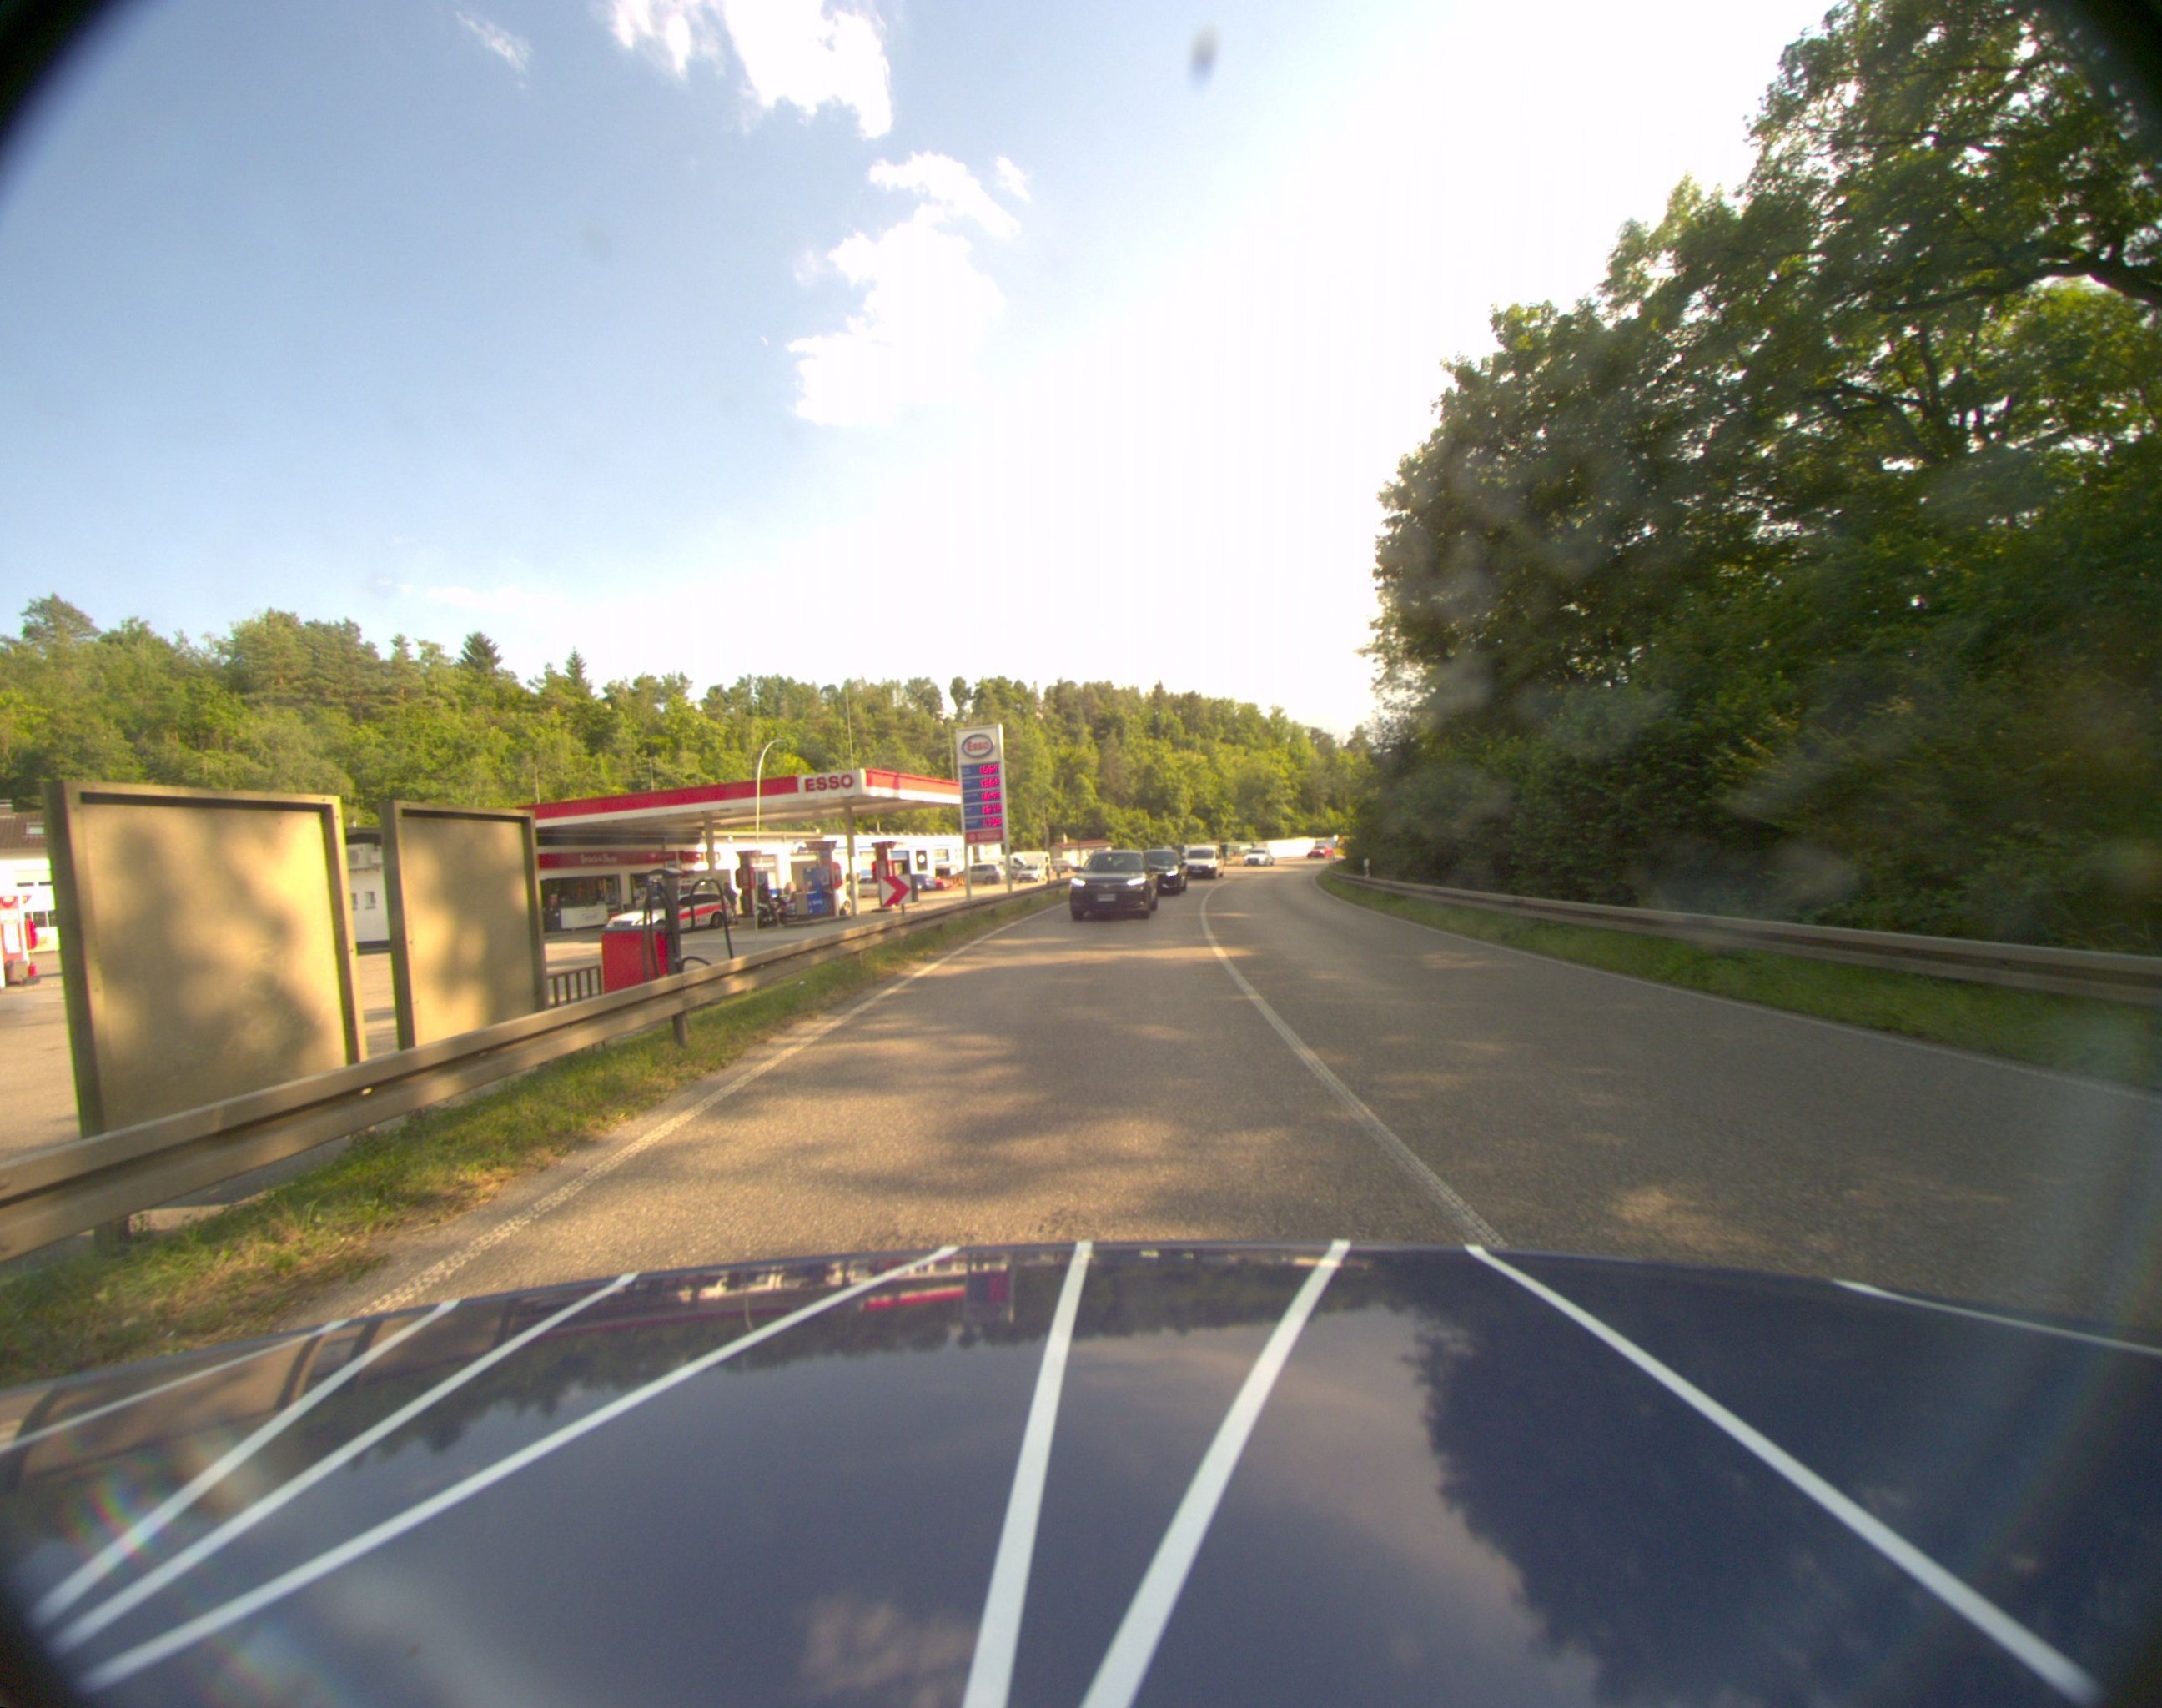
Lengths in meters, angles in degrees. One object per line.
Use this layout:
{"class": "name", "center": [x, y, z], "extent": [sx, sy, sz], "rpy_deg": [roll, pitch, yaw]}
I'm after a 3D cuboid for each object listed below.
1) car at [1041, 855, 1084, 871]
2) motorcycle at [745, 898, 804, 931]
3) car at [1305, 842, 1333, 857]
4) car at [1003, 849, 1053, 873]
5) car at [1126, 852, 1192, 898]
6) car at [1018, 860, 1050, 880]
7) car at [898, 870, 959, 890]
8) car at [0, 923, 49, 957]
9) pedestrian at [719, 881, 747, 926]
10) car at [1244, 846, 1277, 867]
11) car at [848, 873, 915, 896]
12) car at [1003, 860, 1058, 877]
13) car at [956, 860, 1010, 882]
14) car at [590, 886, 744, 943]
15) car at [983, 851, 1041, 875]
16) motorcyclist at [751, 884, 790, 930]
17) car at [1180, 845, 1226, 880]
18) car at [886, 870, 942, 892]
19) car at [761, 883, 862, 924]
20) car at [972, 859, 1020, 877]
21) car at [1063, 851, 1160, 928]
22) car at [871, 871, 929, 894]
{"class": "car", "center": [-2.123, 1.013, 86.196], "extent": [4.411, 1.660, 1.939], "rpy_deg": [-1, 0, -27]}
{"class": "motorcycle", "center": [-11.586, 2.277, 28.817], "extent": [0.763, 1.006, 2.343], "rpy_deg": [-3, 0, 14]}
{"class": "car", "center": [26.091, -0.534, 83.199], "extent": [1.856, 1.412, 4.426], "rpy_deg": [-4, 0, 29]}
{"class": "car", "center": [-5.706, 0.735, 82.321], "extent": [4.915, 2.435, 2.209], "rpy_deg": [-2, 1, 12]}
{"class": "car", "center": [2.985, 0.732, 28.376], "extent": [1.846, 1.560, 4.262], "rpy_deg": [-1, 0, 14]}
{"class": "car", "center": [-4.039, 1.396, 66.148], "extent": [1.793, 1.587, 3.991], "rpy_deg": [-1, 1, 10]}
{"class": "car", "center": [-11.663, 1.961, 58.137], "extent": [4.073, 1.340, 1.897], "rpy_deg": [-2, 1, 14]}
{"class": "car", "center": [-65.592, 5.297, 44.909], "extent": [2.695, 1.826, 5.175], "rpy_deg": [-4, 0, 40]}
{"class": "pedestrian", "center": [-14.425, 2.046, 31.465], "extent": [0.618, 1.766, 0.705], "rpy_deg": [-4, 1, 16]}
{"class": "car", "center": [14.845, 0.206, 62.700], "extent": [1.894, 1.437, 4.482], "rpy_deg": [-4, 0, 22]}
{"class": "car", "center": [-13.460, 2.085, 51.445], "extent": [3.963, 1.347, 1.778], "rpy_deg": [-2, 1, 10]}
{"class": "car", "center": [-4.735, 1.374, 71.214], "extent": [4.727, 1.426, 1.959], "rpy_deg": [-1, 1, 12]}
{"class": "car", "center": [-8.432, 1.450, 65.559], "extent": [4.254, 1.719, 1.893], "rpy_deg": [-1, 1, 11]}
{"class": "car", "center": [-15.396, 2.189, 28.669], "extent": [2.095, 1.618, 5.185], "rpy_deg": [-3, 0, 13]}
{"class": "car", "center": [-7.136, 0.894, 78.746], "extent": [5.481, 2.261, 2.297], "rpy_deg": [-2, 1, 14]}
{"class": "motorcyclist", "center": [-11.669, 1.977, 28.581], "extent": [0.859, 1.595, 0.928], "rpy_deg": [-3, 1, 14]}
{"class": "car", "center": [6.777, 0.417, 41.830], "extent": [1.865, 1.711, 4.768], "rpy_deg": [-1, 1, 17]}
{"class": "car", "center": [-12.310, 1.983, 56.105], "extent": [3.549, 1.437, 1.735], "rpy_deg": [-3, 1, 14]}
{"class": "car", "center": [-11.341, 2.067, 32.361], "extent": [1.845, 1.311, 4.394], "rpy_deg": [-3, 0, 15]}
{"class": "car", "center": [-8.301, 1.368, 74.130], "extent": [4.246, 1.601, 1.896], "rpy_deg": [-2, 1, 14]}
{"class": "car", "center": [0.880, 0.762, 18.654], "extent": [1.858, 1.630, 4.444], "rpy_deg": [-1, 1, 9]}
{"class": "car", "center": [-12.848, 2.024, 53.941], "extent": [3.555, 1.398, 1.692], "rpy_deg": [-3, 1, 14]}
